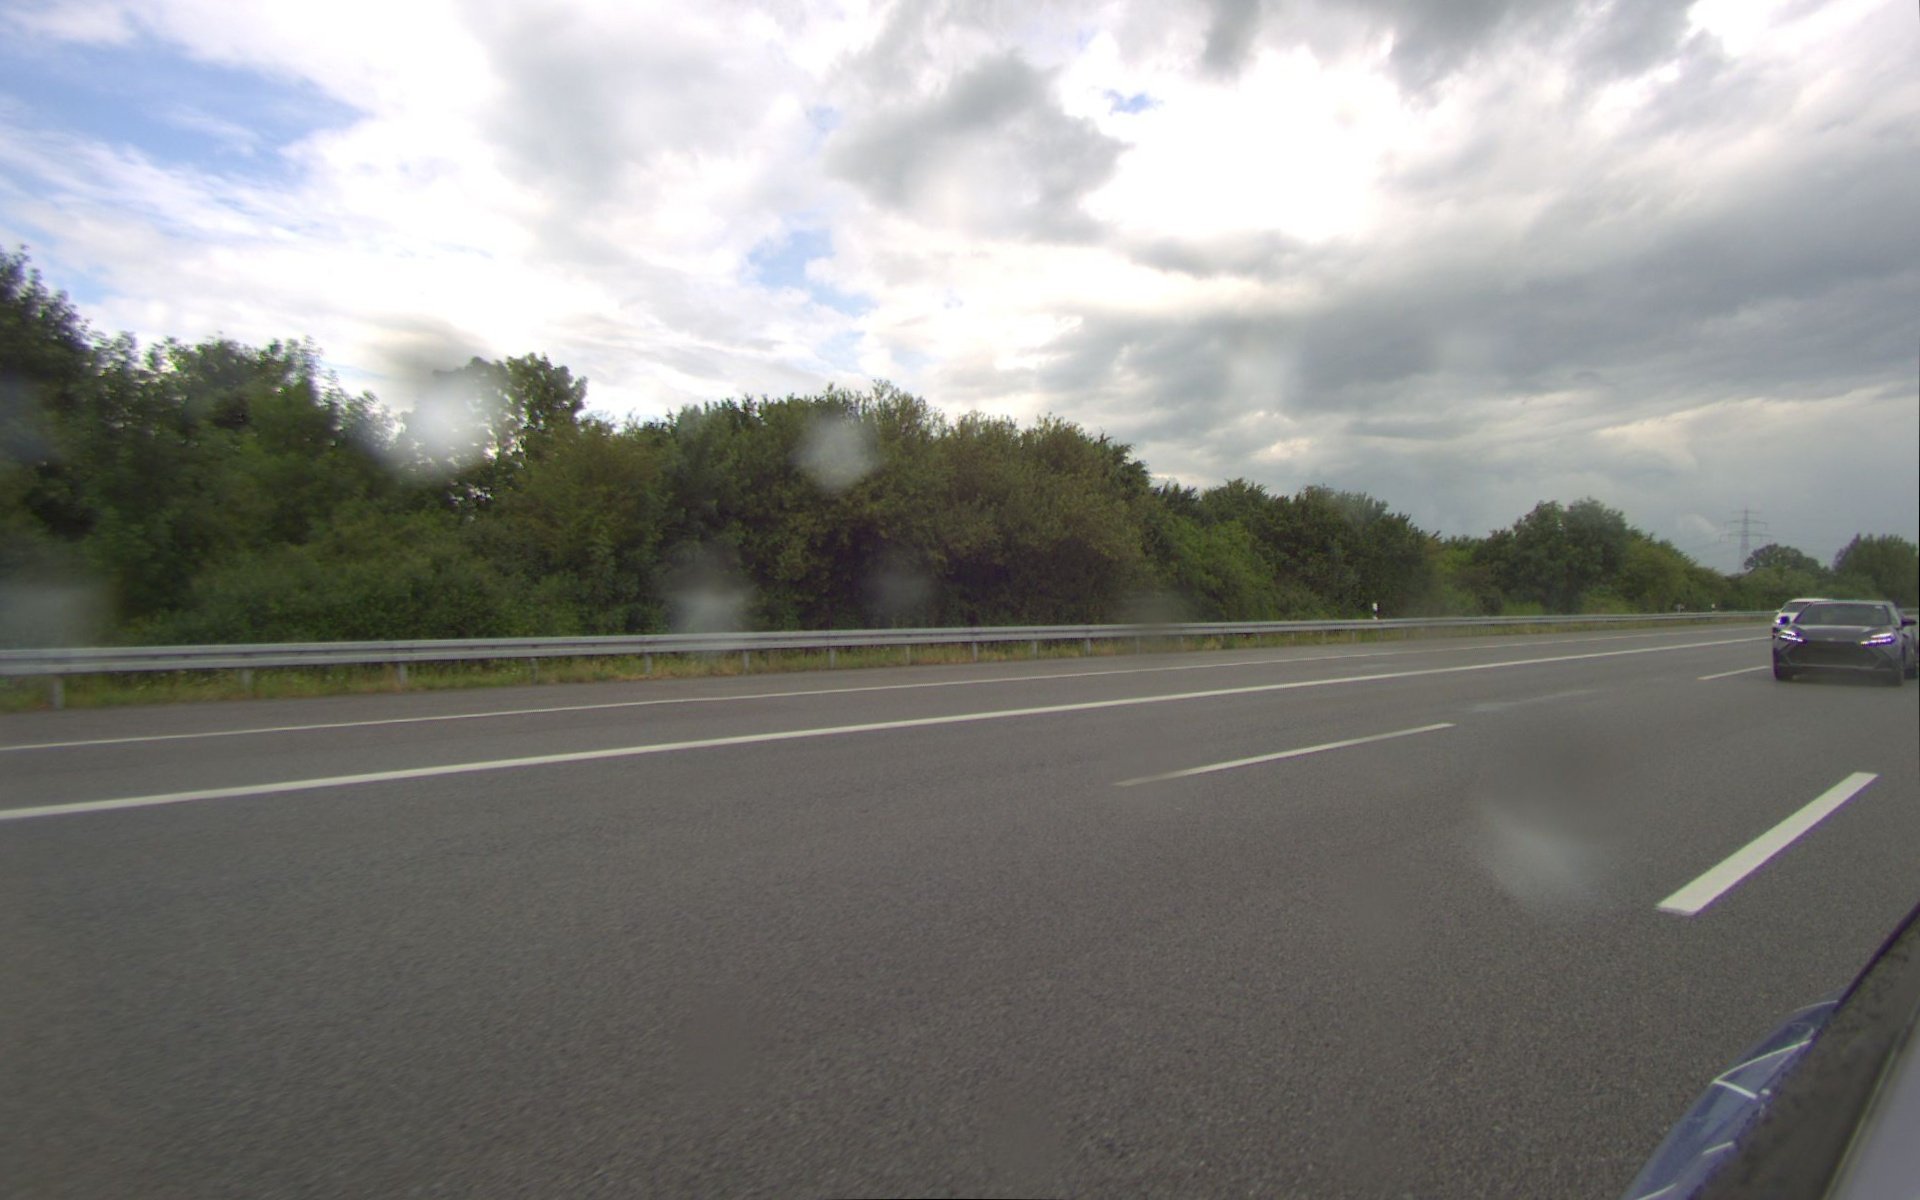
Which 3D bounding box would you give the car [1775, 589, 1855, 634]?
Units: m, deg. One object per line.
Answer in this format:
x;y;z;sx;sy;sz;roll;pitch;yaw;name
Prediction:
32.991;0.397;39.005;4.616;1.619;1.813;0;1;-43;car

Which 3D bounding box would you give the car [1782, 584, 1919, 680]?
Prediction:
17.394;0.534;19.498;4.519;1.633;1.783;0;1;-43;car
